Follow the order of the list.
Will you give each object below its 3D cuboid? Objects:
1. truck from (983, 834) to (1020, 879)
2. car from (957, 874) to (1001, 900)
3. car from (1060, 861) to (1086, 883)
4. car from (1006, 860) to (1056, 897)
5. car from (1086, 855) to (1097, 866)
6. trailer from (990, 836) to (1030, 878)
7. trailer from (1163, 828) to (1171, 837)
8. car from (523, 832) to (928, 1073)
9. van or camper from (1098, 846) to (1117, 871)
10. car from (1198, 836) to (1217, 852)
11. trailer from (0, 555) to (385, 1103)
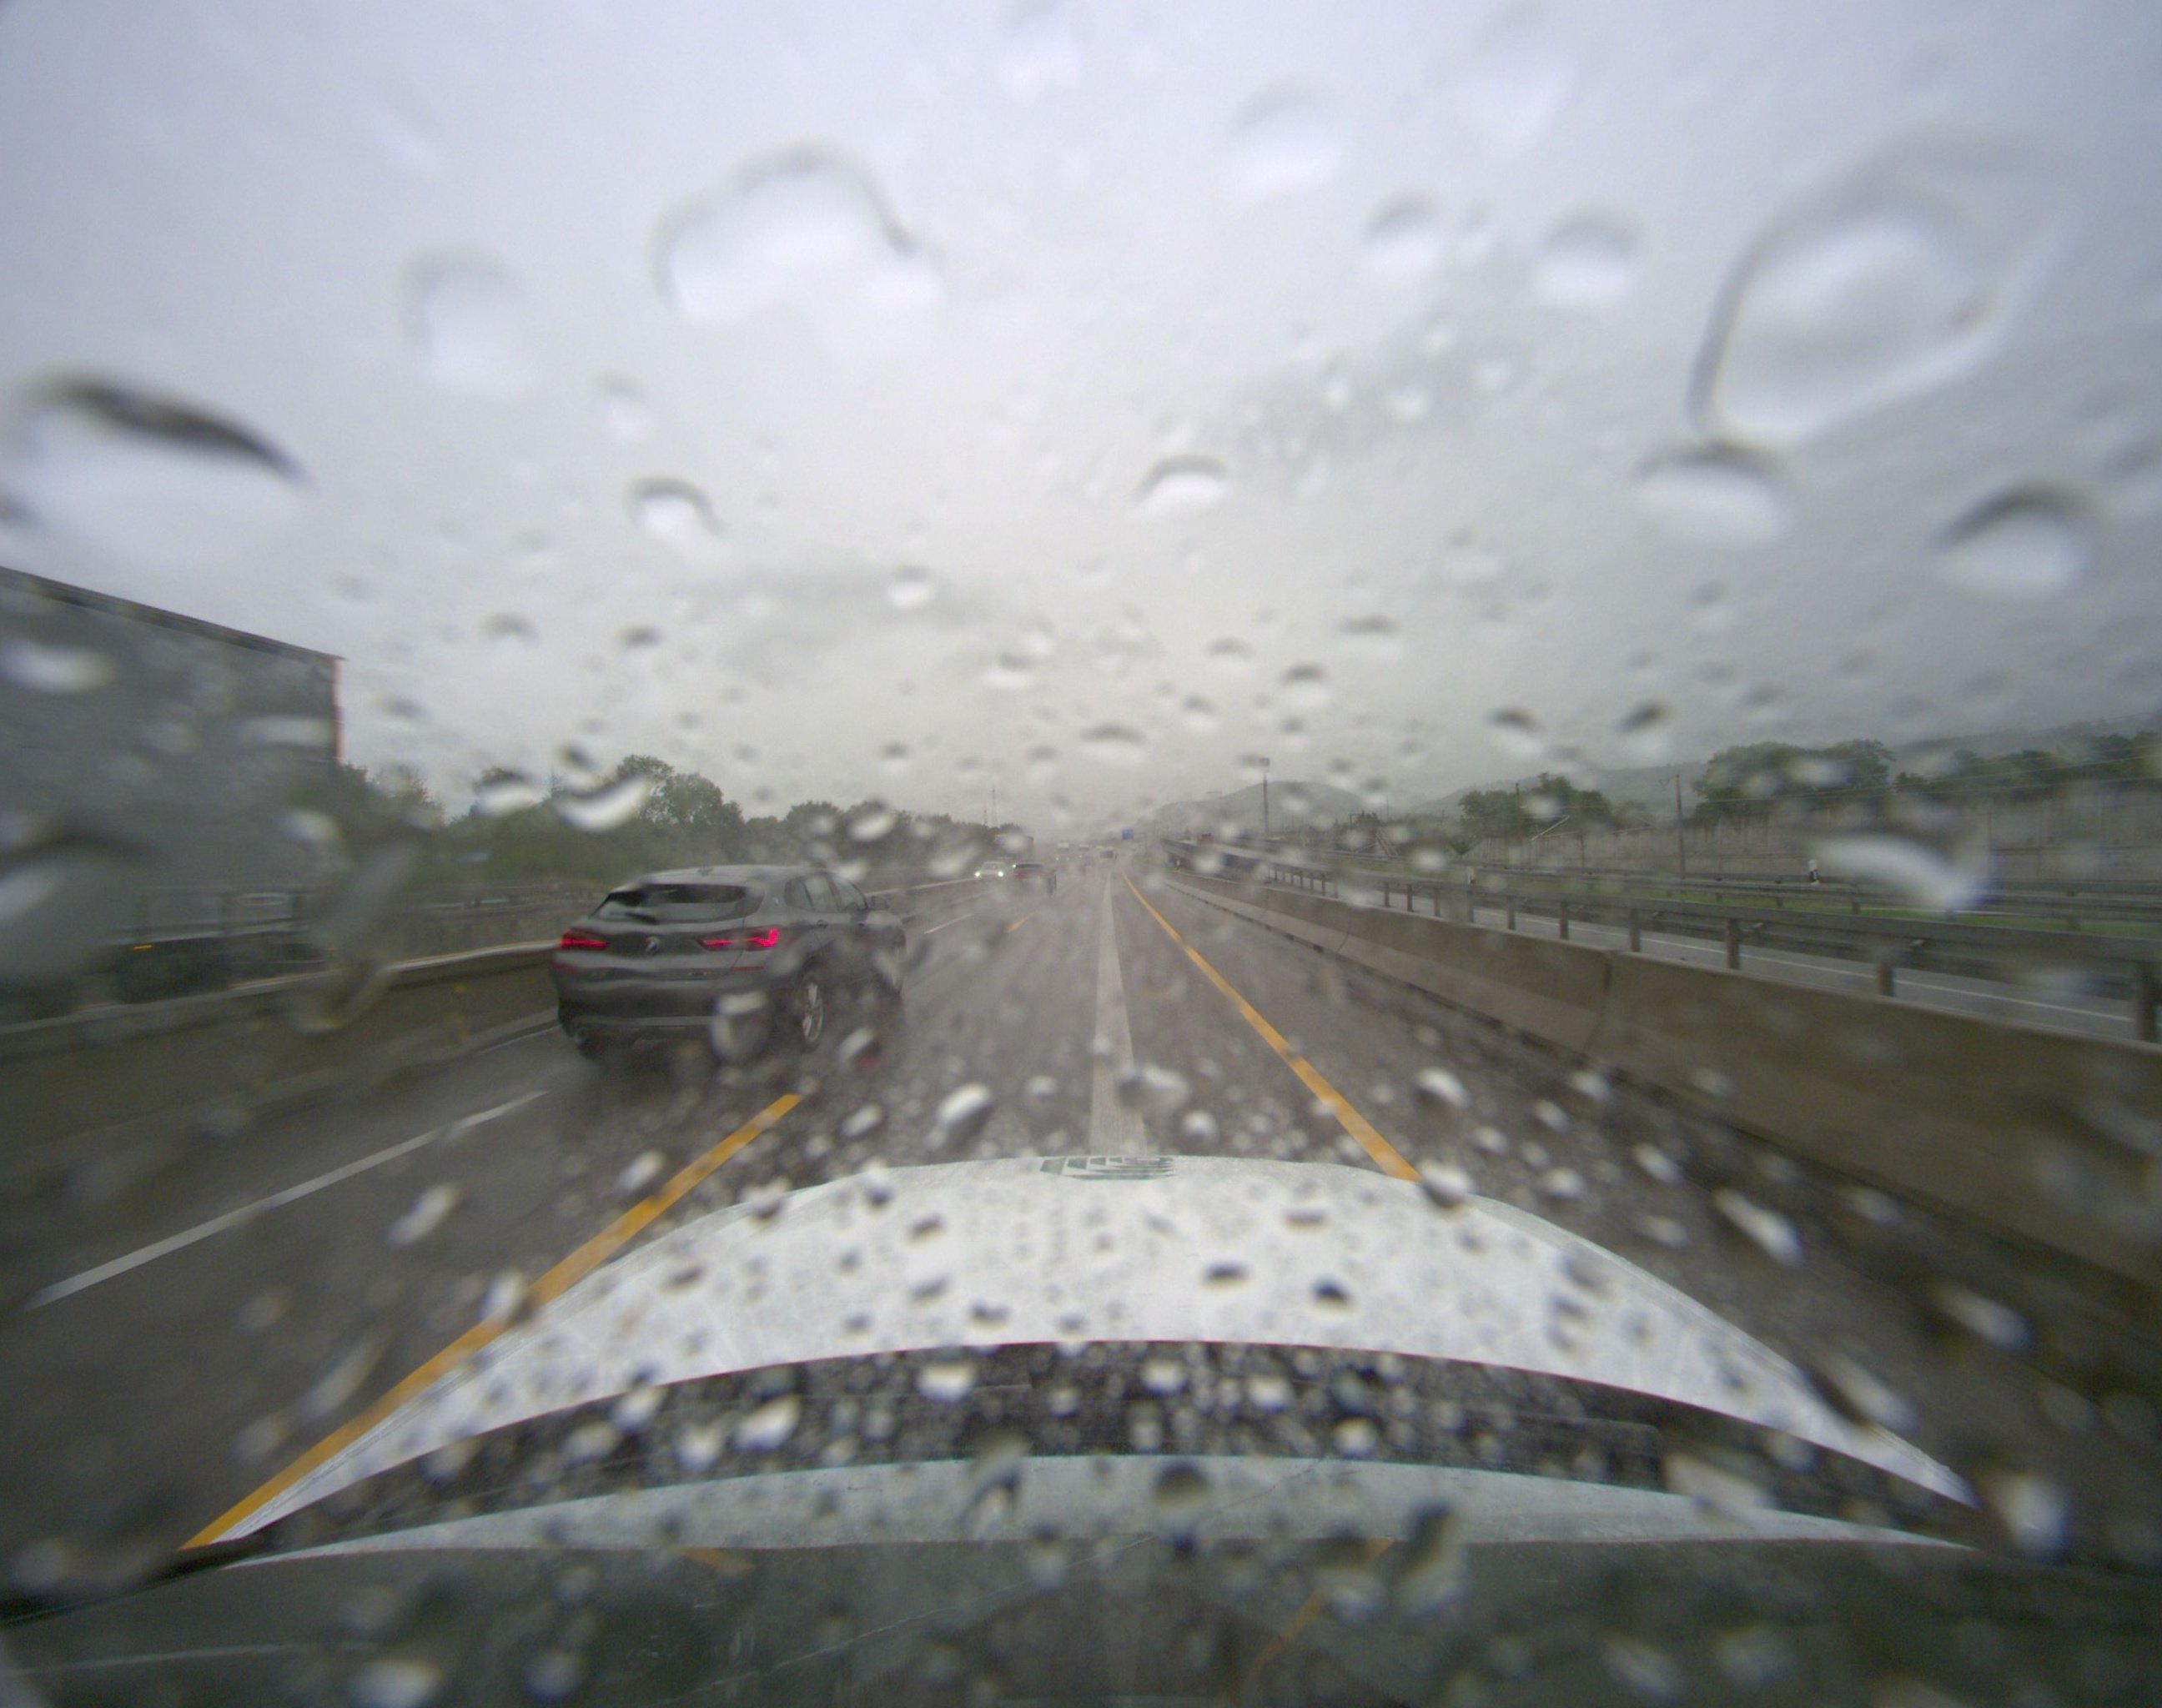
[{"bbox_3d":[-7.554,0.255,78.565,2.632,4.127,6.698,-1,-1,2],"label":"truck"},{"bbox_3d":[-6.405,2.038,51.607,2.030,1.506,4.722,-1,-1,2],"label":"car"},{"bbox_3d":[-0.583,1.427,65.238,1.838,1.491,4.263,-4,0,1],"label":"car"},{"bbox_3d":[-2.152,1.048,36.046,1.837,1.491,4.262,-1,-1,1],"label":"car"},{"bbox_3d":[1.536,0.933,117.872,1.561,1.480,2.822,-4,-1,1],"label":"car"},{"bbox_3d":[-7.282,0.386,85.344,2.640,4.109,12.319,-1,-1,2],"label":"trailer"},{"bbox_3d":[24.514,-6.083,231.620,1.984,2.106,13.785,-1,-1,5],"label":"trailer"},{"bbox_3d":[-2.862,0.693,7.931,1.695,1.598,4.846,-1,-1,1],"label":"car"},{"bbox_3d":[2.974,0.511,92.055,1.989,2.777,4.050,-1,-1,1],"label":"van or camper"},{"bbox_3d":[17.060,-1.330,110.080,1.986,2.142,4.001,-1,-1,1],"label":"car"},{"bbox_3d":[-9.881,-0.235,3.220,2.676,4.277,13.075,-1,-1,2],"label":"trailer"}]
